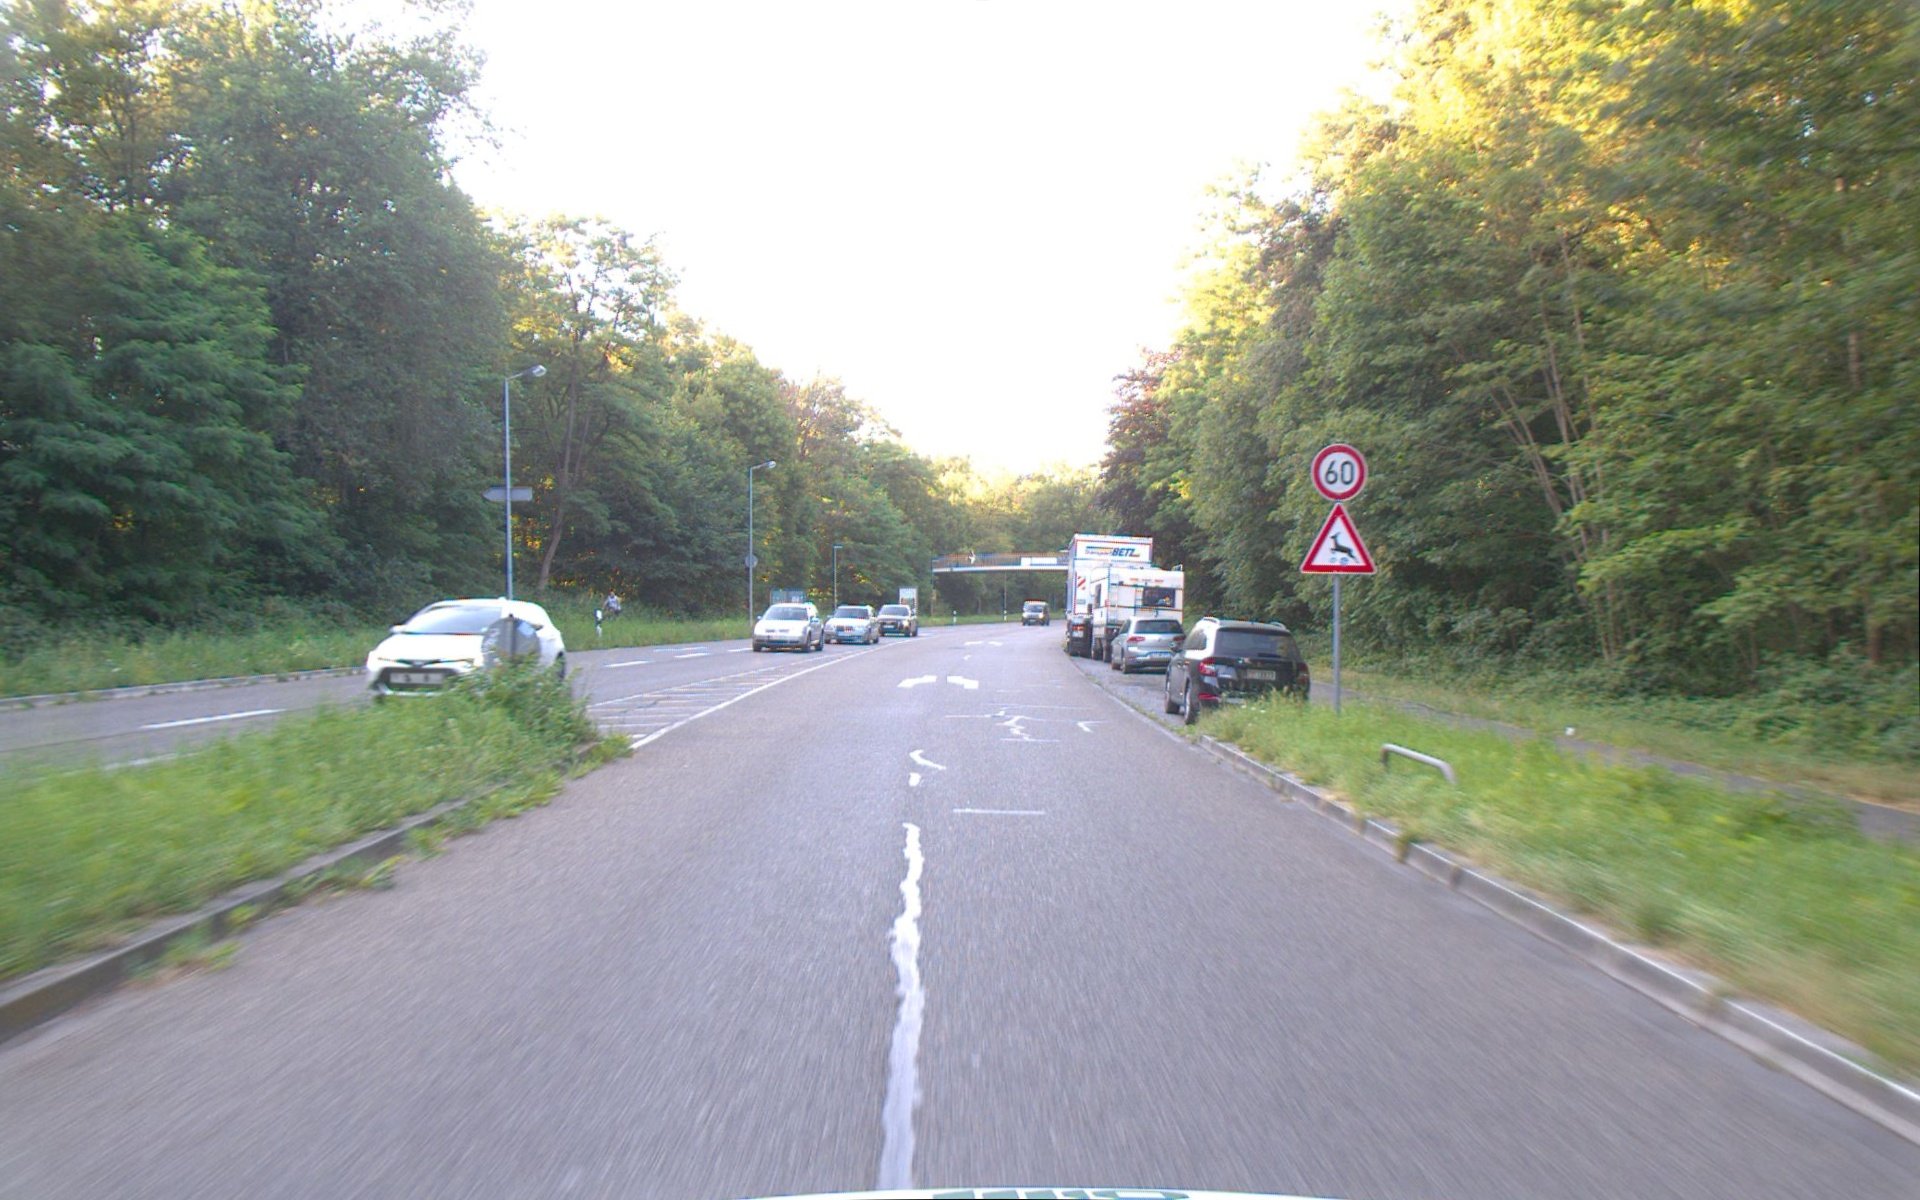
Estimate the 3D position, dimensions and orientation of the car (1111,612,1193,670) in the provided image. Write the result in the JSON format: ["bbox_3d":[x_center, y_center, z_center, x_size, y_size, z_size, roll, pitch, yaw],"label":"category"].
[{"bbox_3d":[4.979,1.041,43.292,1.663,1.430,4.075,0,0,0],"label":"car"}]

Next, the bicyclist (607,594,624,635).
[{"bbox_3d":[-13.120,0.551,62.981,0.609,1.537,0.845,-1,1,-11],"label":"bicyclist"}]

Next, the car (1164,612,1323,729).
[{"bbox_3d":[3.947,0.933,23.566,1.629,1.430,3.943,3,0,1],"label":"car"}]

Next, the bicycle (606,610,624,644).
[{"bbox_3d":[-13.113,1.013,62.974,0.618,1.239,2.255,0,0,-11],"label":"bicycle"}]

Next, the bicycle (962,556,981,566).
[{"bbox_3d":[1.177,-3.887,165.243,1.805,0.965,0.551,1,0,10],"label":"bicycle"}]

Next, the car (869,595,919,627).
[{"bbox_3d":[-3.129,0.507,79.339,1.852,1.465,4.772,2,0,4],"label":"car"}]

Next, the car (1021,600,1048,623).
[{"bbox_3d":[6.163,0.941,136.064,1.804,1.831,4.751,1,0,8],"label":"car"}]

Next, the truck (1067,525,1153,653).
[{"bbox_3d":[5.146,-0.356,58.249,2.602,4.098,9.726,1,0,3],"label":"truck"}]

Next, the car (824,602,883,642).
[{"bbox_3d":[-3.998,0.790,62.497,1.684,1.422,4.377,0,0,3],"label":"car"}]

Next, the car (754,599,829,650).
[{"bbox_3d":[-5.130,0.724,50.790,1.680,1.471,4.175,0,0,3],"label":"car"}]

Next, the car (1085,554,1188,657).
[{"bbox_3d":[5.271,0.170,50.177,2.359,2.908,5.931,1,0,-1],"label":"car"}]

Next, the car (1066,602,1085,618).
[{"bbox_3d":[12.784,1.100,183.220,1.804,1.766,4.003,2,0,8],"label":"car"}]

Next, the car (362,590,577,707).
[{"bbox_3d":[-6.957,0.701,23.886,1.798,1.534,3.938,0,-2,2],"label":"car"}]

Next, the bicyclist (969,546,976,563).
[{"bbox_3d":[1.265,-4.529,165.233,0.650,1.609,0.548,1,0,10],"label":"bicyclist"}]
